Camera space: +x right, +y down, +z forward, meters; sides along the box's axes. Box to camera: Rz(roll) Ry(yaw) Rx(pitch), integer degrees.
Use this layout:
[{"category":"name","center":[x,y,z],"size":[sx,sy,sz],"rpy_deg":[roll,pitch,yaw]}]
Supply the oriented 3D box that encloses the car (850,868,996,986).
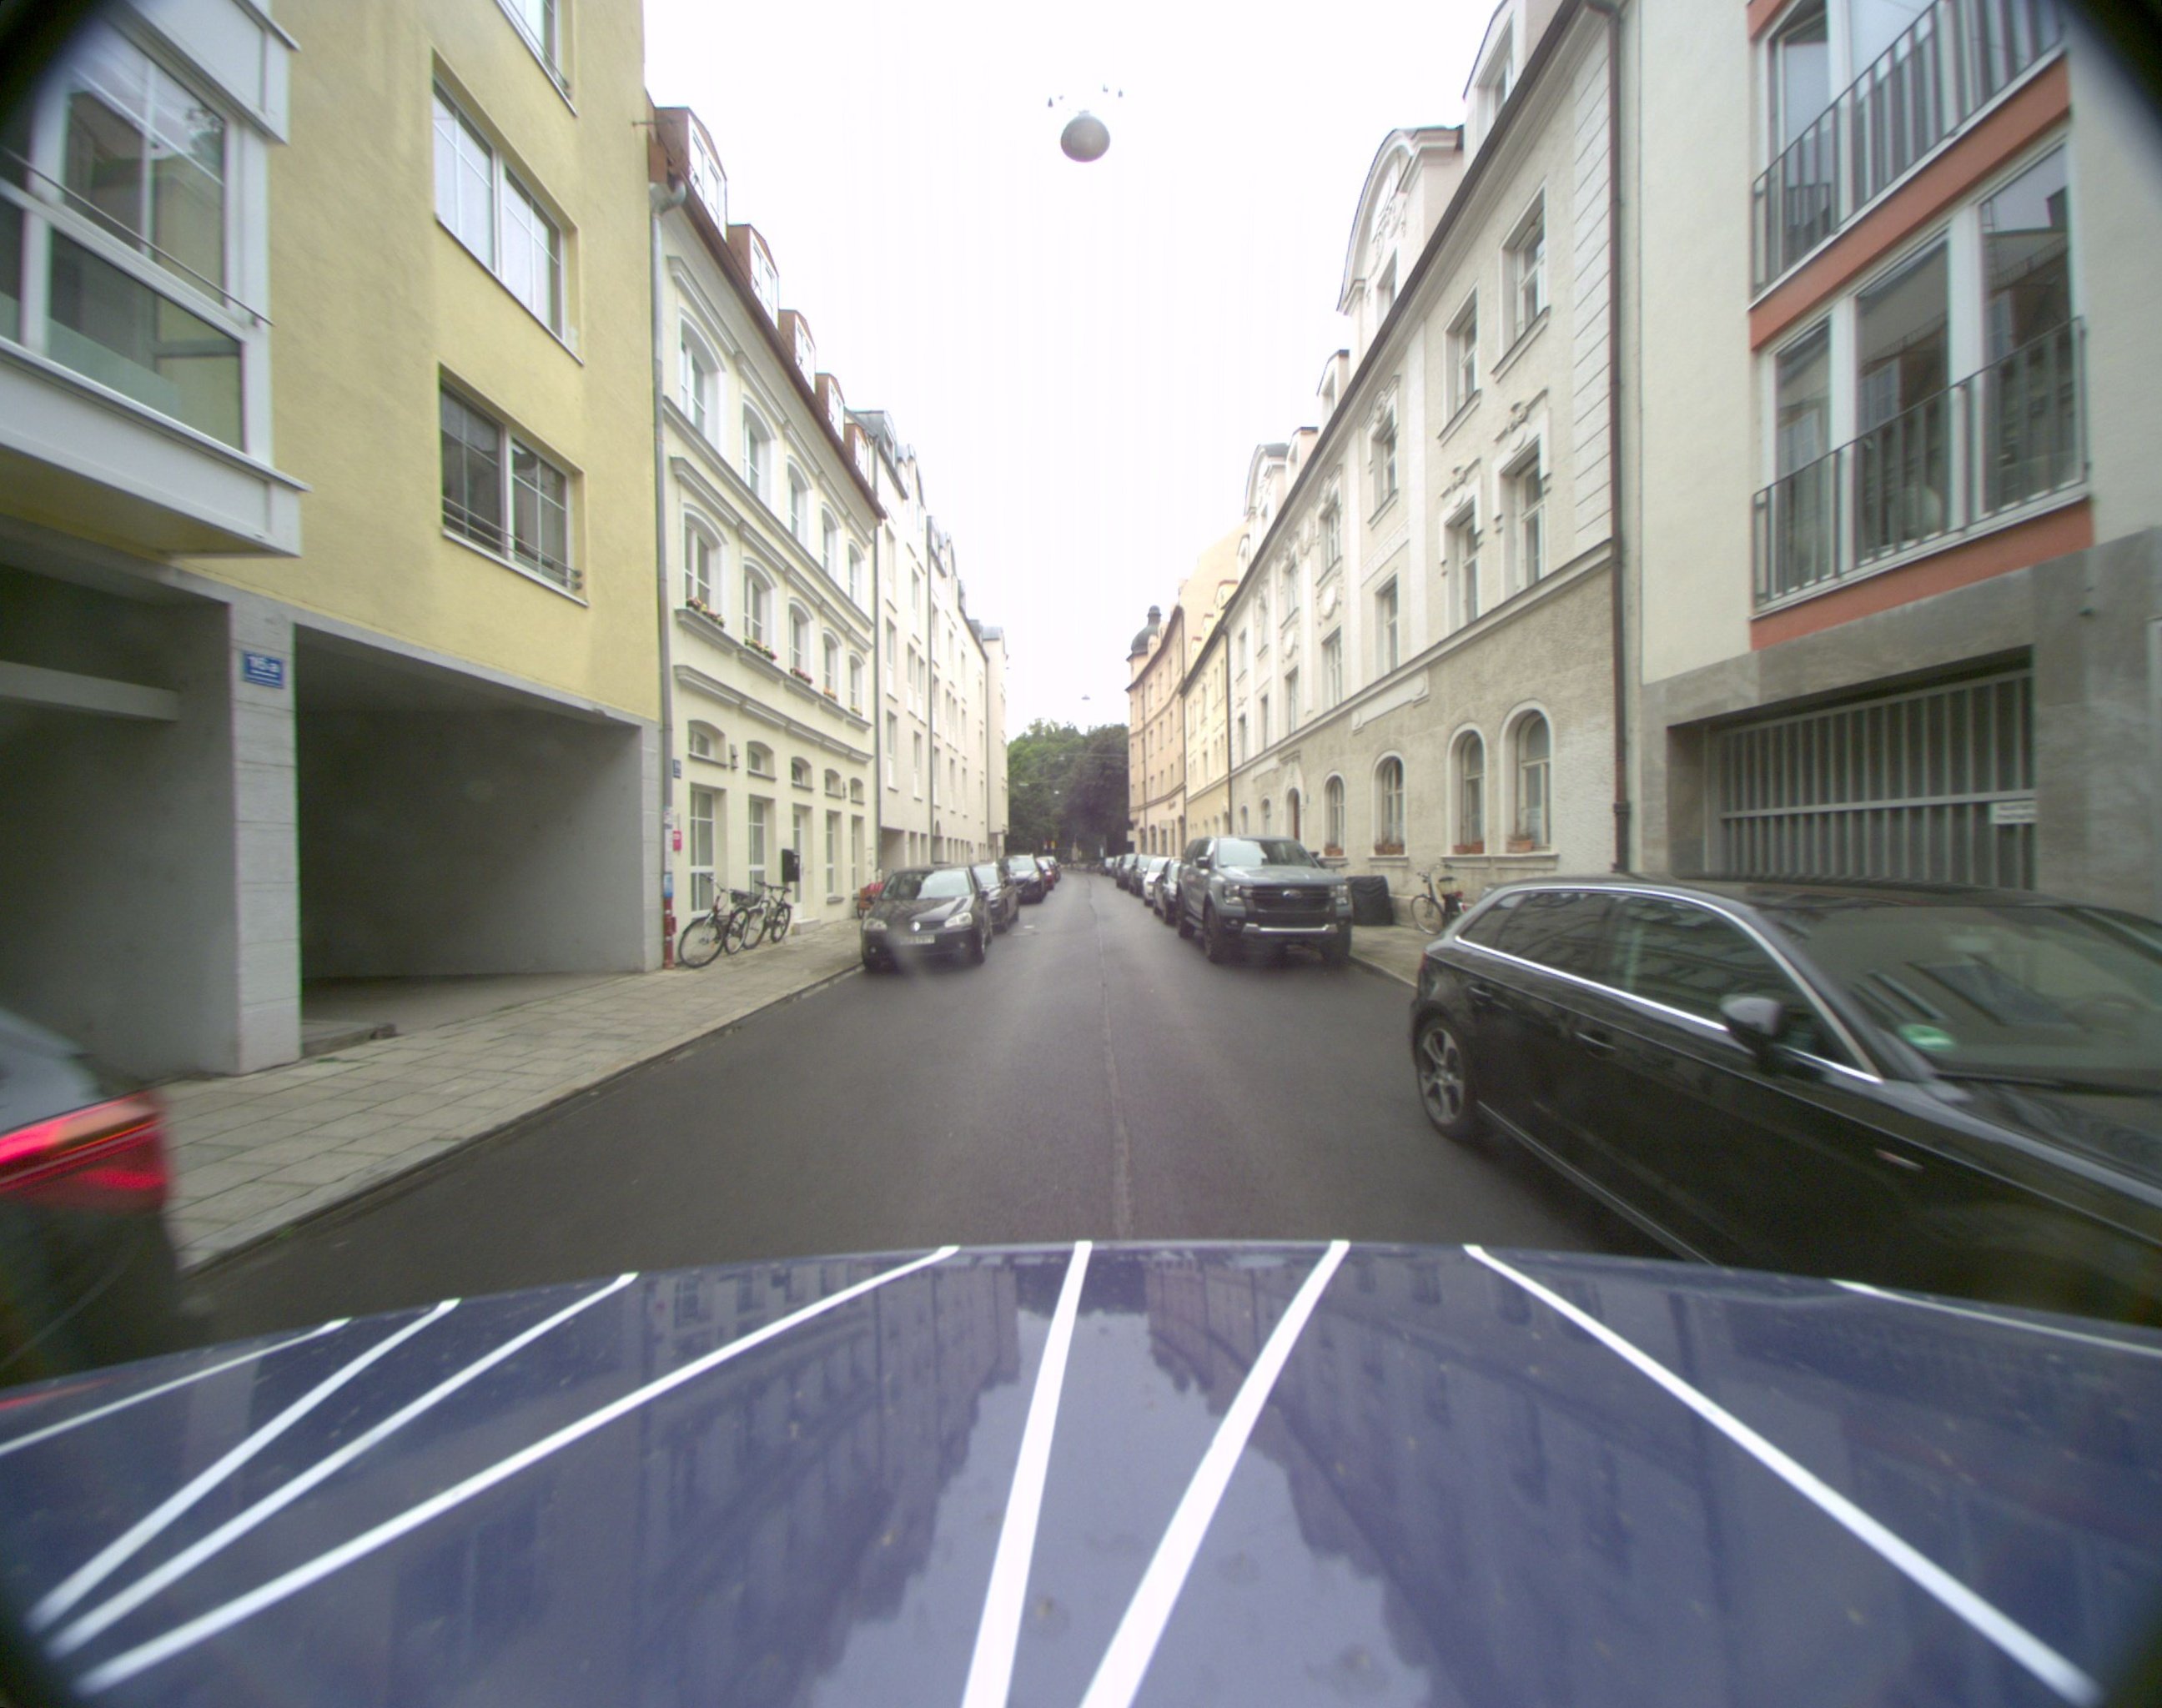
[{"category":"car","center":[-2.362,1.020,12.349],"size":[1.750,1.433,4.227],"rpy_deg":[-2,0,-5]}]

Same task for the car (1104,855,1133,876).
[{"category":"car","center":[2.729,0.803,56.210],"size":[1.951,1.470,3.979],"rpy_deg":[1,0,0]}]

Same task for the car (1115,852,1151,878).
[{"category":"car","center":[3.165,0.658,47.186],"size":[1.951,1.470,3.979],"rpy_deg":[1,0,0]}]

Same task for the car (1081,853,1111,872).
[{"category":"car","center":[1.275,0.732,65.801],"size":[1.800,1.501,3.996],"rpy_deg":[1,0,-11]}]

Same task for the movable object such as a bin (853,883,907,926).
[{"category":"movable object such as a bin","center":[-4.890,1.208,18.591],"size":[0.740,0.926,1.650],"rpy_deg":[-7,-2,1]}]

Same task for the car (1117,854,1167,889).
[{"category":"car","center":[2.744,0.750,35.003],"size":[1.951,1.470,3.979],"rpy_deg":[1,0,0]}]

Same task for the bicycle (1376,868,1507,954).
[{"category":"bicycle","center":[5.681,0.836,12.227],"size":[0.754,1.098,2.826],"rpy_deg":[-7,0,3]}]

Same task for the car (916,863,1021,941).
[{"category":"car","center":[-2.357,0.971,16.824],"size":[1.739,1.433,3.685],"rpy_deg":[-2,0,0]}]

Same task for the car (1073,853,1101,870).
[{"category":"car","center":[0.488,0.678,69.993],"size":[1.800,1.501,3.996],"rpy_deg":[1,0,-11]}]

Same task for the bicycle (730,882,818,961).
[{"category":"bicycle","center":[-5.106,1.085,12.774],"size":[0.636,1.155,1.868],"rpy_deg":[3,-1,1]}]

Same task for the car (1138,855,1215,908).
[{"category":"car","center":[2.919,0.805,23.985],"size":[1.951,1.470,3.715],"rpy_deg":[1,0,0]}]

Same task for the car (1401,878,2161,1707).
[{"category":"car","center":[2.658,0.879,2.322],"size":[1.632,1.466,4.029],"rpy_deg":[1,0,0]}]

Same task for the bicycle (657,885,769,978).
[{"category":"bicycle","center":[-5.156,1.044,10.790],"size":[0.636,1.155,1.868],"rpy_deg":[1,-1,1]}]

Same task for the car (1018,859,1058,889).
[{"category":"car","center":[-2.062,0.949,37.497],"size":[1.739,1.297,3.685],"rpy_deg":[-2,0,0]}]

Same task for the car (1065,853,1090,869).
[{"category":"car","center":[-0.367,0.665,74.090],"size":[1.800,1.501,3.996],"rpy_deg":[1,0,-11]}]

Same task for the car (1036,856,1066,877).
[{"category":"car","center":[-1.945,0.797,50.183],"size":[1.739,1.297,3.685],"rpy_deg":[-2,0,0]}]

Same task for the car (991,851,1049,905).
[{"category":"car","center":[-2.104,0.786,27.053],"size":[1.739,1.743,3.685],"rpy_deg":[-2,0,0]}]

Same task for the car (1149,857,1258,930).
[{"category":"car","center":[2.731,0.829,17.833],"size":[1.951,1.470,3.715],"rpy_deg":[1,0,0]}]

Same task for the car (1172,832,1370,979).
[{"category":"car","center":[2.730,0.654,12.206],"size":[1.951,1.850,4.908],"rpy_deg":[1,0,0]}]

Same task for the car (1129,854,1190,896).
[{"category":"car","center":[2.958,0.766,29.298],"size":[1.951,1.470,3.715],"rpy_deg":[1,0,0]}]
